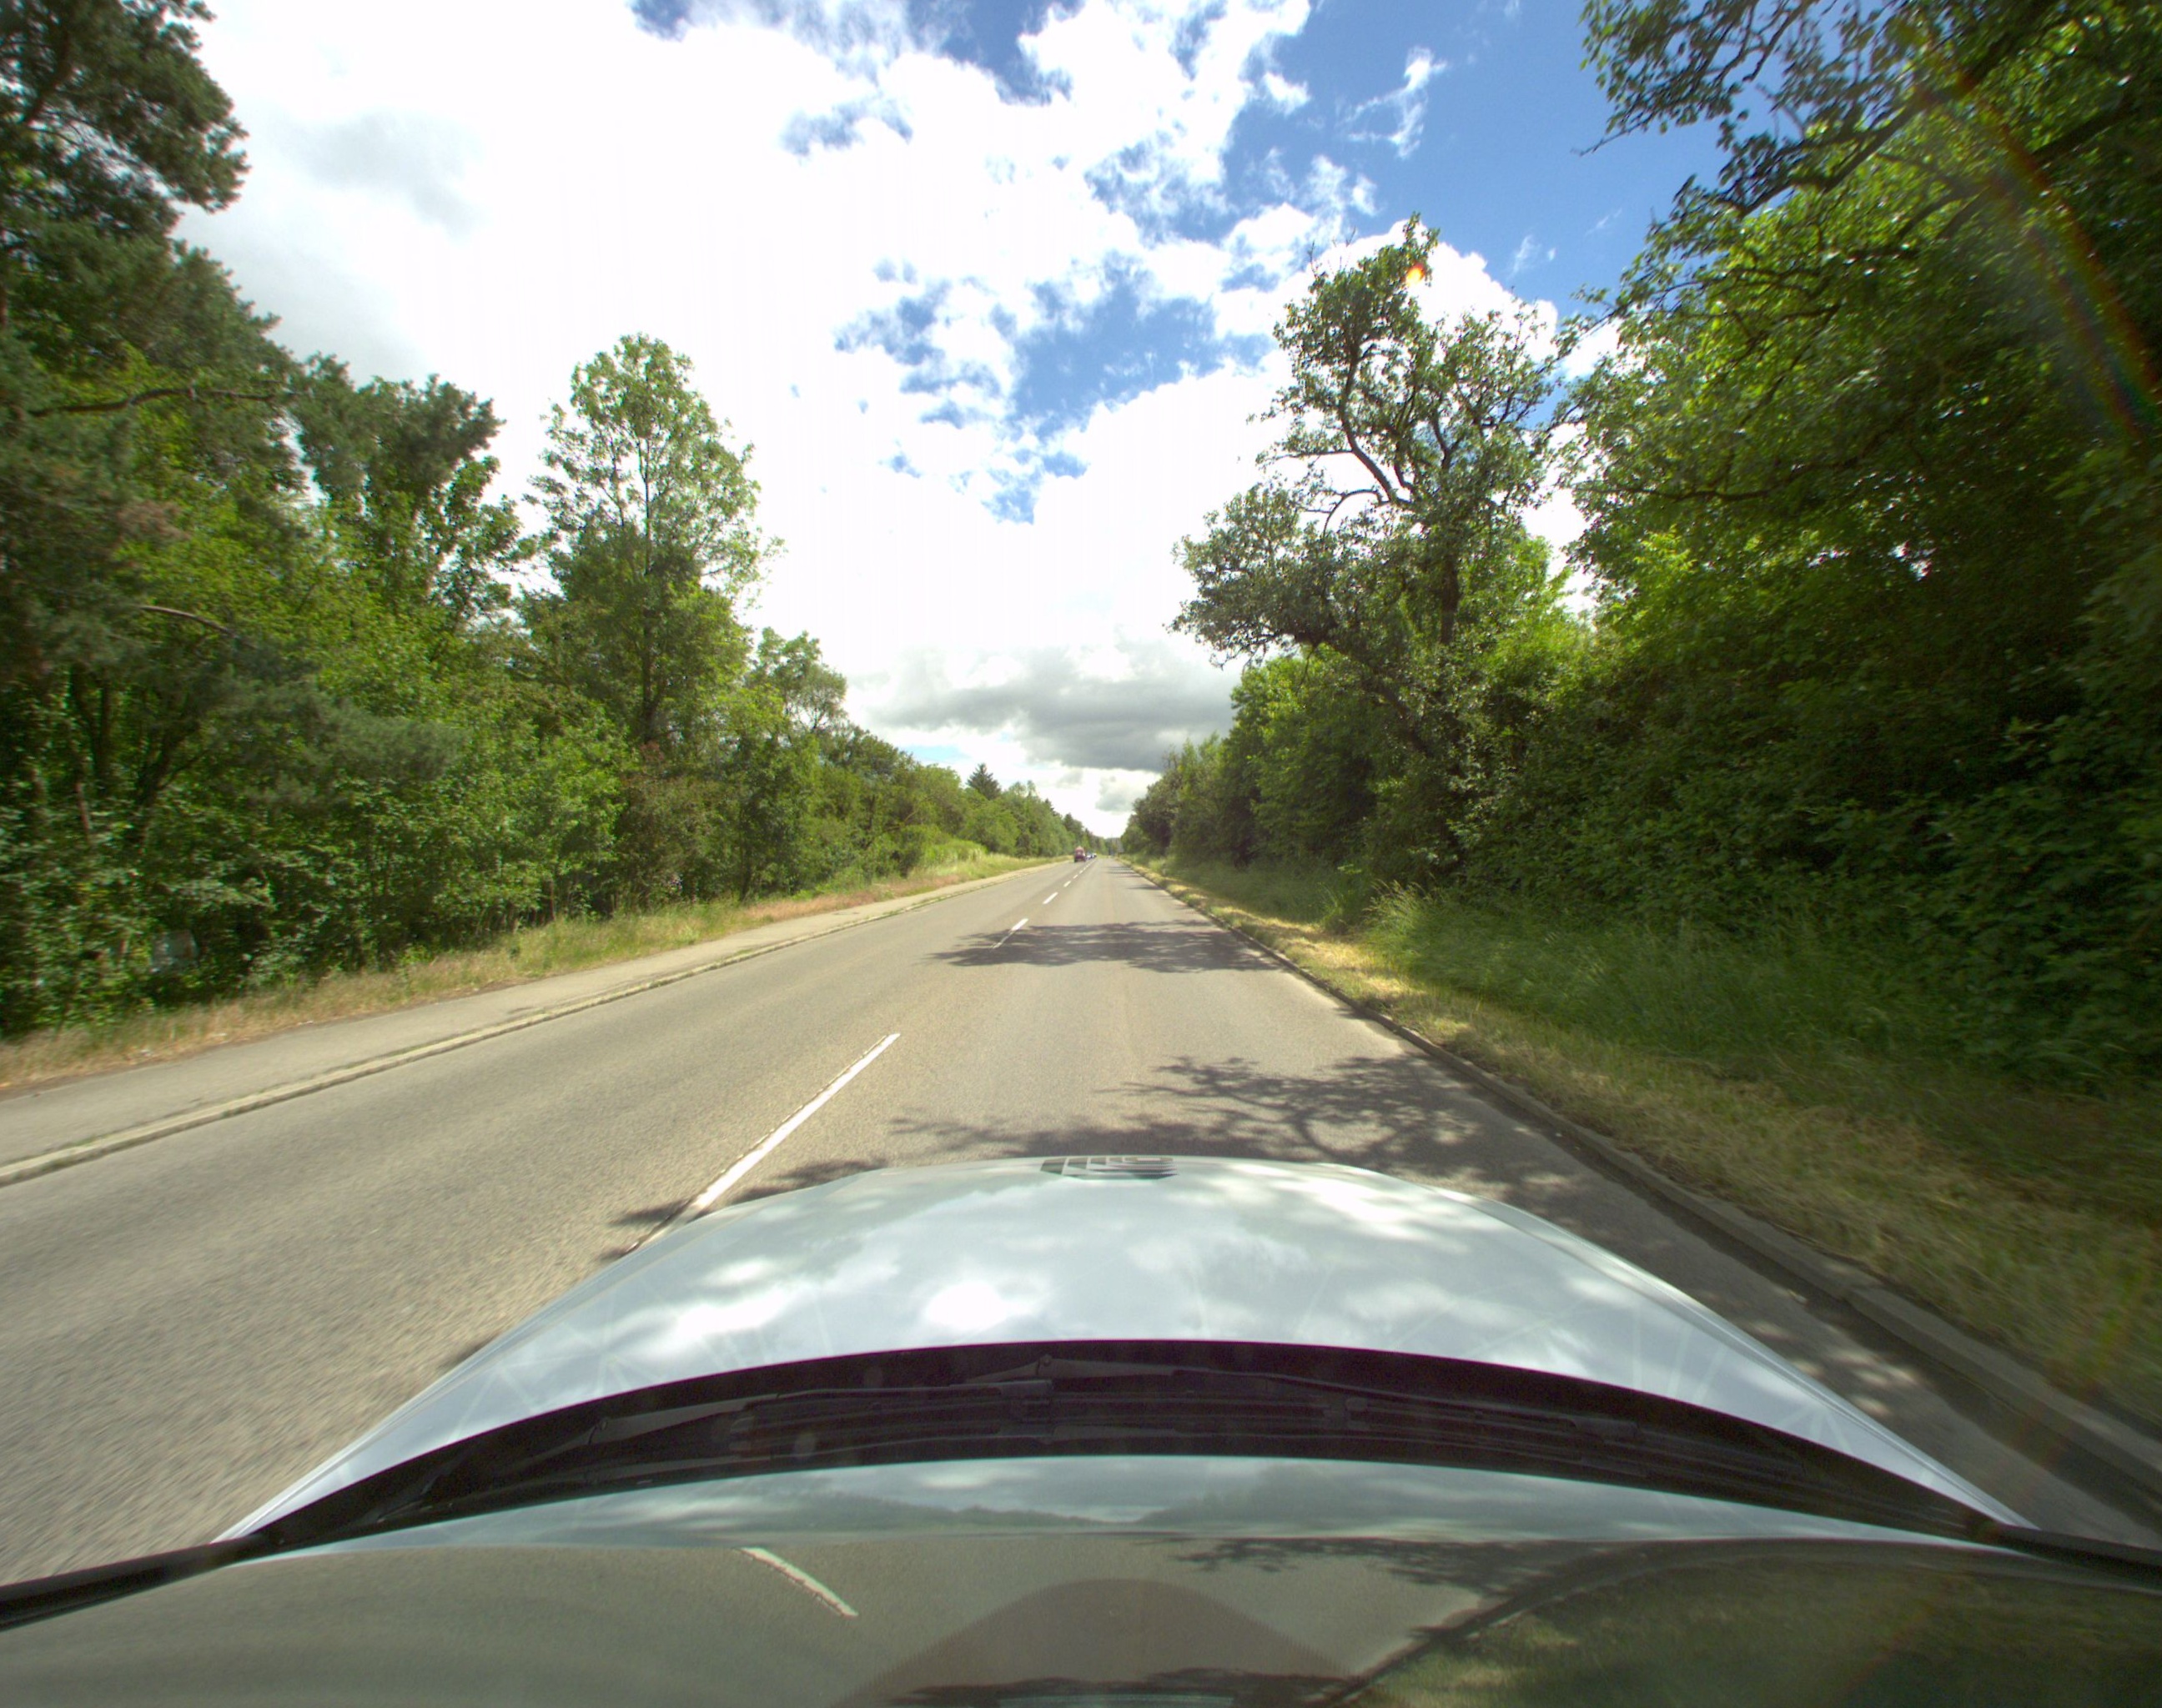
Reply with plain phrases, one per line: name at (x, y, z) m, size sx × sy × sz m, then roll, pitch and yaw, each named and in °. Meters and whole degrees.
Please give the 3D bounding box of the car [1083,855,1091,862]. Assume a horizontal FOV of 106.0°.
car at (1.310, 1.087, 184.503) m, size 1.778 × 1.446 × 4.452 m, roll -4°, pitch 0°, yaw 1°

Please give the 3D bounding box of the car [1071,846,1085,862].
car at (-0.443, -0.004, 134.922) m, size 1.962 × 2.550 × 4.726 m, roll -4°, pitch 0°, yaw 1°
